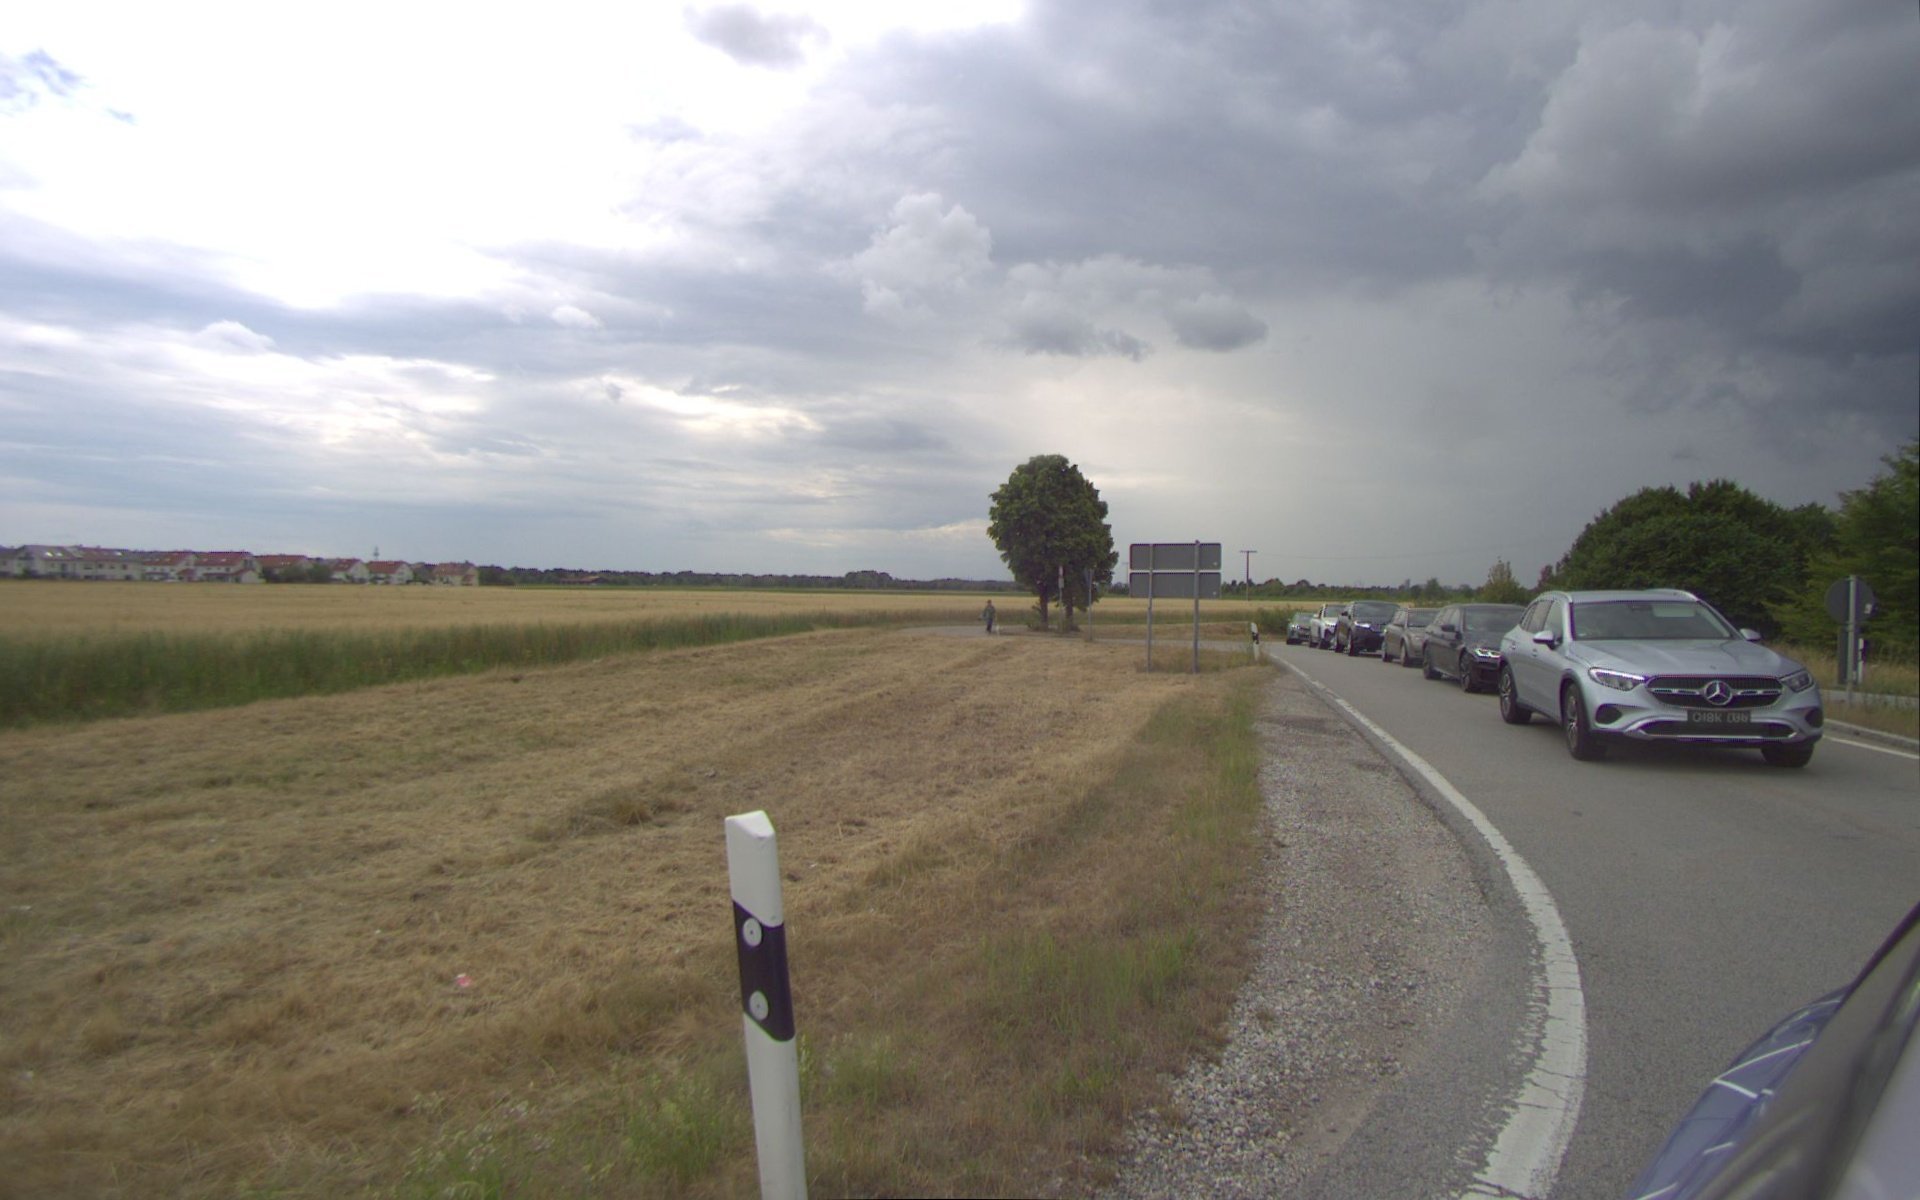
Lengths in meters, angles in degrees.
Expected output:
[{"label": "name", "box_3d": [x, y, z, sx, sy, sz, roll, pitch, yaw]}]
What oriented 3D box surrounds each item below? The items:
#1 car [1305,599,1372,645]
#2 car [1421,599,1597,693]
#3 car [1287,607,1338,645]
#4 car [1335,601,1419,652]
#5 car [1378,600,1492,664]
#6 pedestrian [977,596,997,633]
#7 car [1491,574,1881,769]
[{"label": "car", "box_3d": [13.777, 0.750, 37.020, 1.696, 1.513, 4.619, -1, 0, 14]}, {"label": "car", "box_3d": [9.473, 0.718, 17.859, 1.698, 1.370, 4.672, -1, 0, 16]}, {"label": "car", "box_3d": [15.718, 1.120, 45.251, 1.696, 1.513, 4.196, -1, 0, 14]}, {"label": "car", "box_3d": [12.588, 0.749, 30.786, 1.696, 1.370, 4.196, -1, 0, 14]}, {"label": "car", "box_3d": [11.583, 0.714, 24.954, 1.697, 1.370, 4.196, 1, 1, 14]}, {"label": "pedestrian", "box_3d": [1.233, 0.650, 46.361, 0.758, 1.631, 0.946, 1, 0, -4]}, {"label": "car", "box_3d": [7.248, 0.586, 10.747, 1.969, 1.606, 4.371, -1, 0, 16]}]
